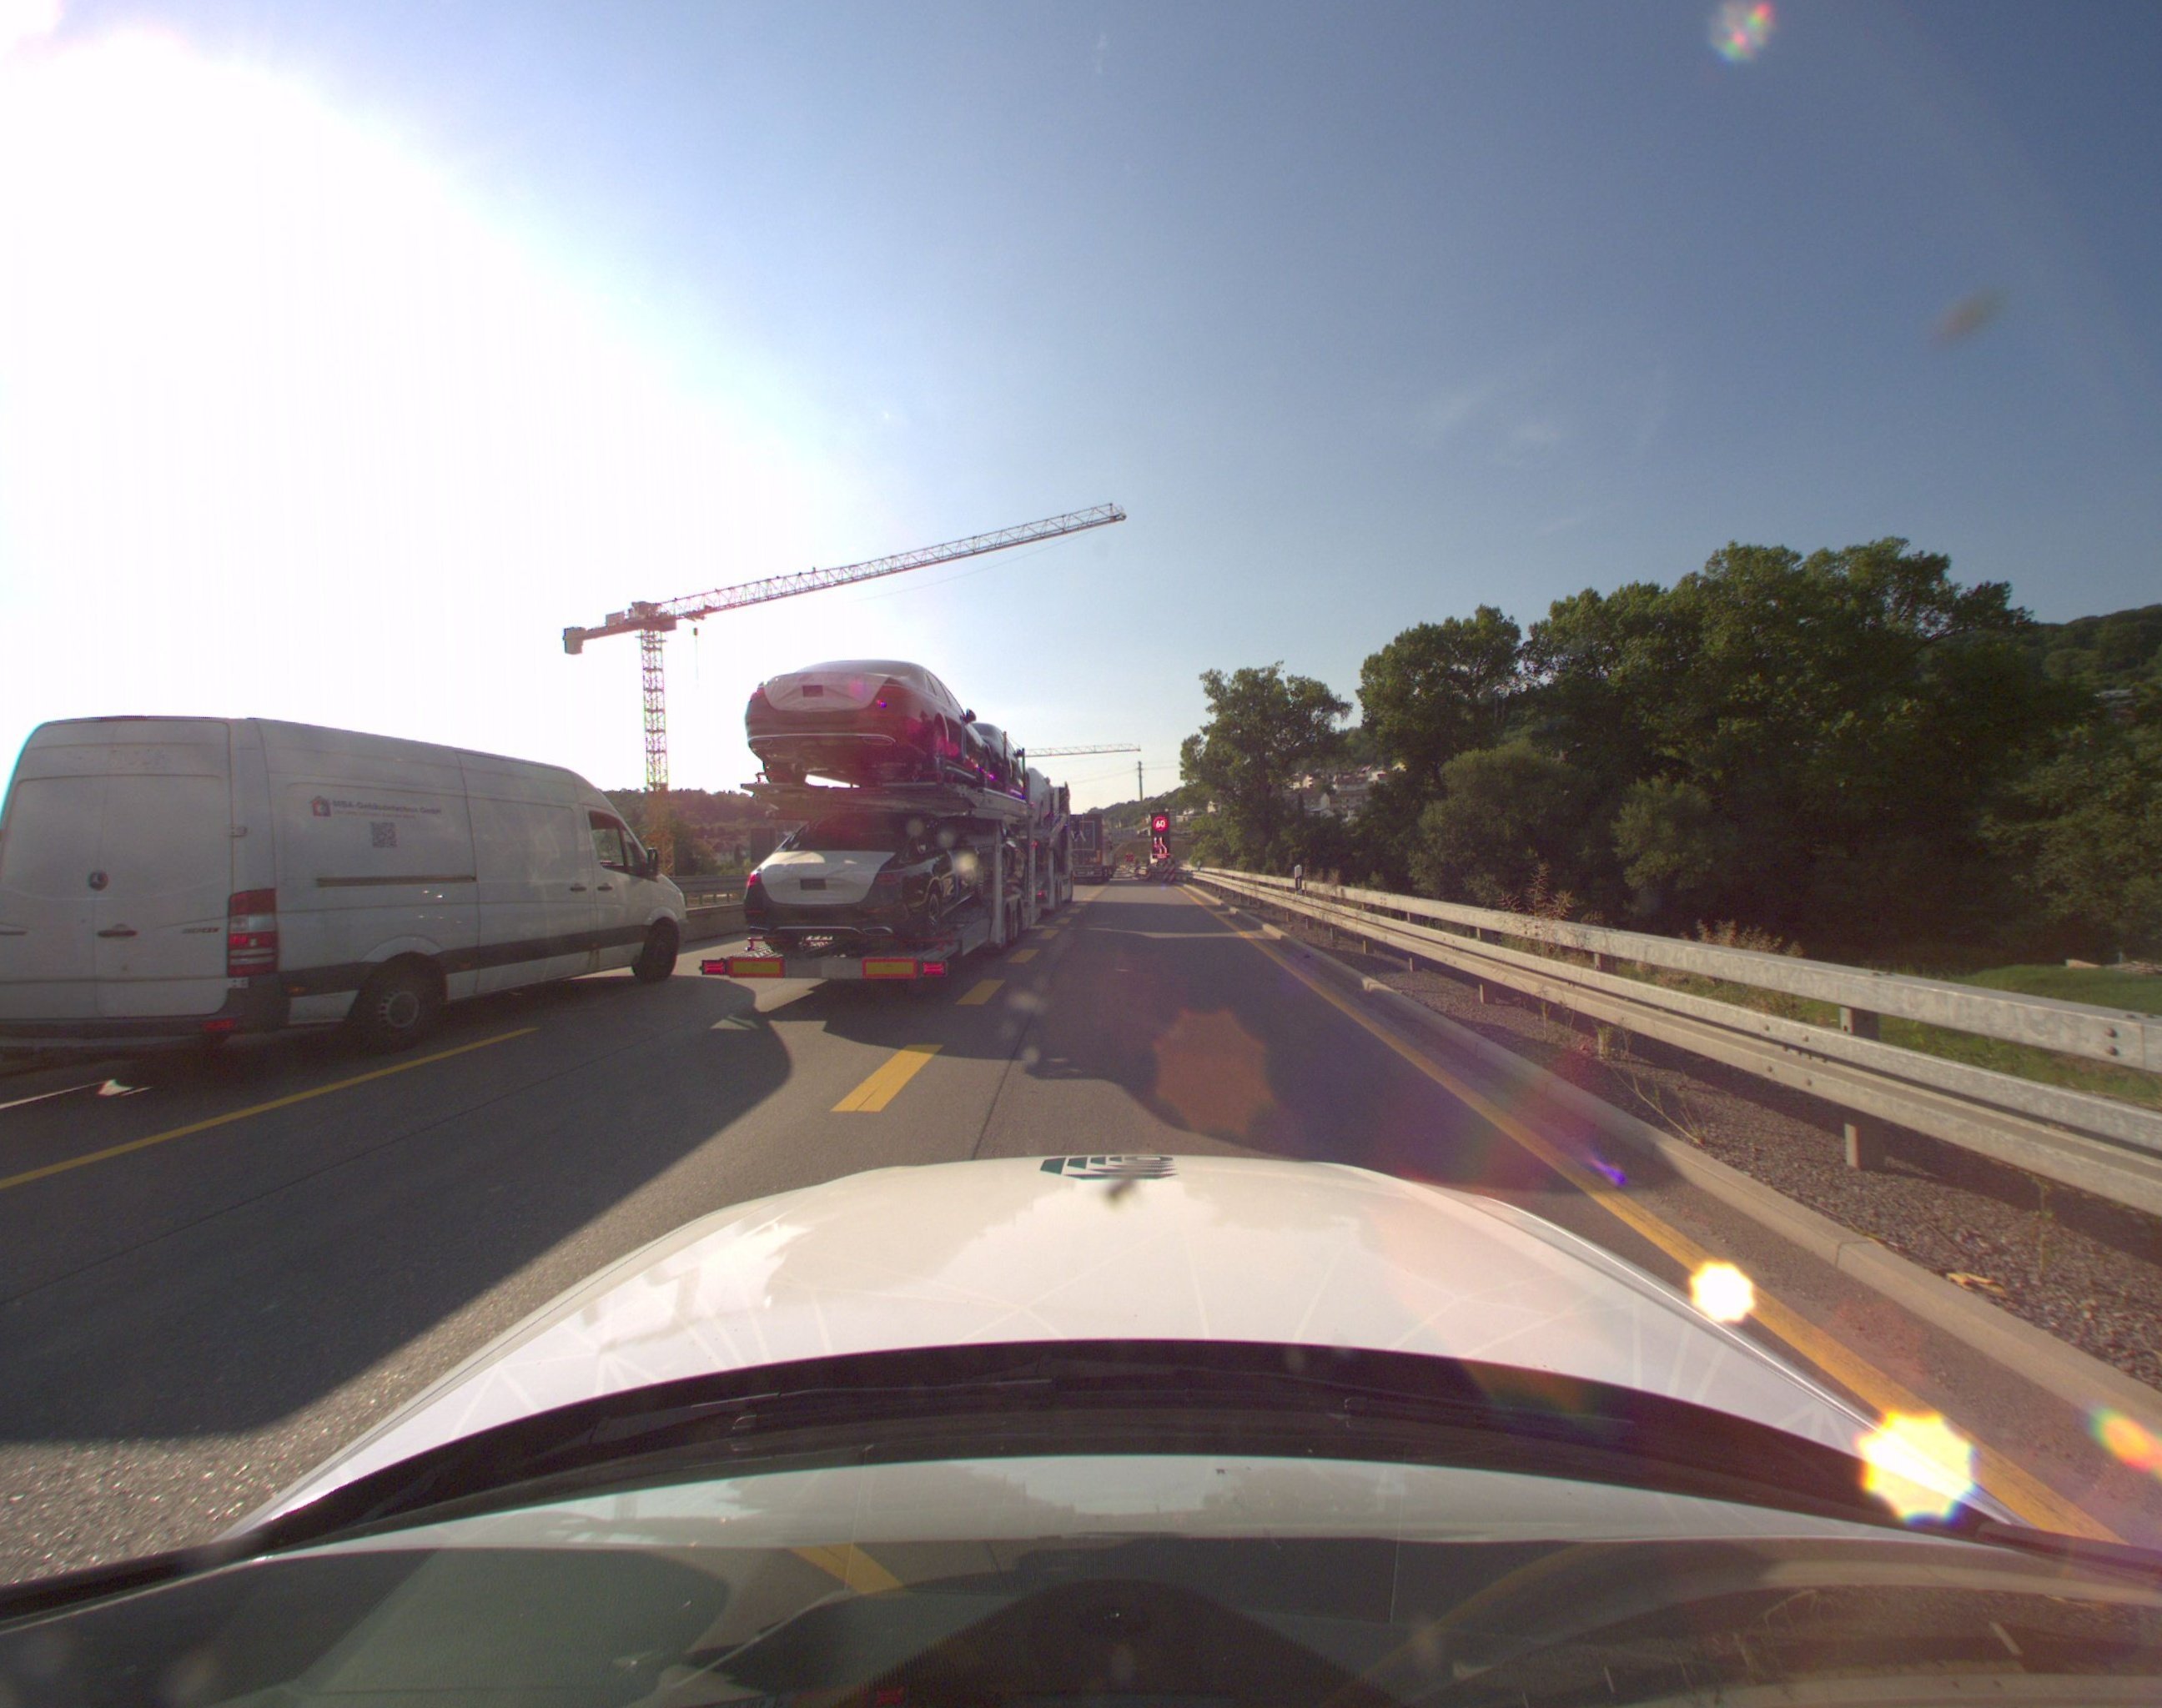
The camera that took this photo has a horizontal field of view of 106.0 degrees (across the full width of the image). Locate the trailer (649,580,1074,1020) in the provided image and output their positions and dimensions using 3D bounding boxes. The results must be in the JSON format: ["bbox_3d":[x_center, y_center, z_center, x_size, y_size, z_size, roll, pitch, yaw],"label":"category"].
[{"bbox_3d":[-2.133,-0.453,15.445,2.845,3.996,15.759,-2,0,3],"label":"trailer"}]

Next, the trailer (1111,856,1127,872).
[{"bbox_3d":[10.539,2.697,223.910,4.080,4.314,14.263,-2,0,3],"label":"trailer"}]

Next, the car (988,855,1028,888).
[{"bbox_3d":[-4.202,0.994,47.359,1.823,1.752,4.001,-3,0,1],"label":"car"}]

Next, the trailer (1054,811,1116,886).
[{"bbox_3d":[0.431,-0.301,51.269,2.945,4.092,10.806,-3,-1,4],"label":"trailer"}]

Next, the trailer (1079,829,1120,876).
[{"bbox_3d":[1.948,-0.111,79.448,3.371,3.996,14.757,-2,0,3],"label":"trailer"}]

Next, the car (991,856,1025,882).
[{"bbox_3d":[-4.983,1.011,56.280,1.823,1.654,4.001,-3,0,1],"label":"car"}]

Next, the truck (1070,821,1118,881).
[{"bbox_3d":[1.024,-0.179,58.791,2.872,3.996,6.632,-2,0,4],"label":"truck"}]

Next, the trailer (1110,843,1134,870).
[{"bbox_3d":[6.566,0.428,129.792,3.371,3.996,14.757,-2,0,3],"label":"trailer"}]

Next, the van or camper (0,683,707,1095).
[{"bbox_3d":[-6.320,0.251,8.206,1.985,2.620,5.910,-1,0,4],"label":"van or camper"}]

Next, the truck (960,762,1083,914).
[{"bbox_3d":[-1.588,-0.410,25.135,2.836,3.996,6.630,-2,0,3],"label":"truck"}]

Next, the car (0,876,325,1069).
[{"bbox_3d":[-9.576,1.027,6.849,1.985,1.465,4.539,-3,0,3],"label":"car"}]

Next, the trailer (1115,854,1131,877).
[{"bbox_3d":[8.697,2.305,167.449,3.090,4.314,14.263,-2,0,3],"label":"trailer"}]

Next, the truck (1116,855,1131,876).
[{"bbox_3d":[9.071,2.351,174.084,3.085,4.285,6.630,-2,0,3],"label":"truck"}]
